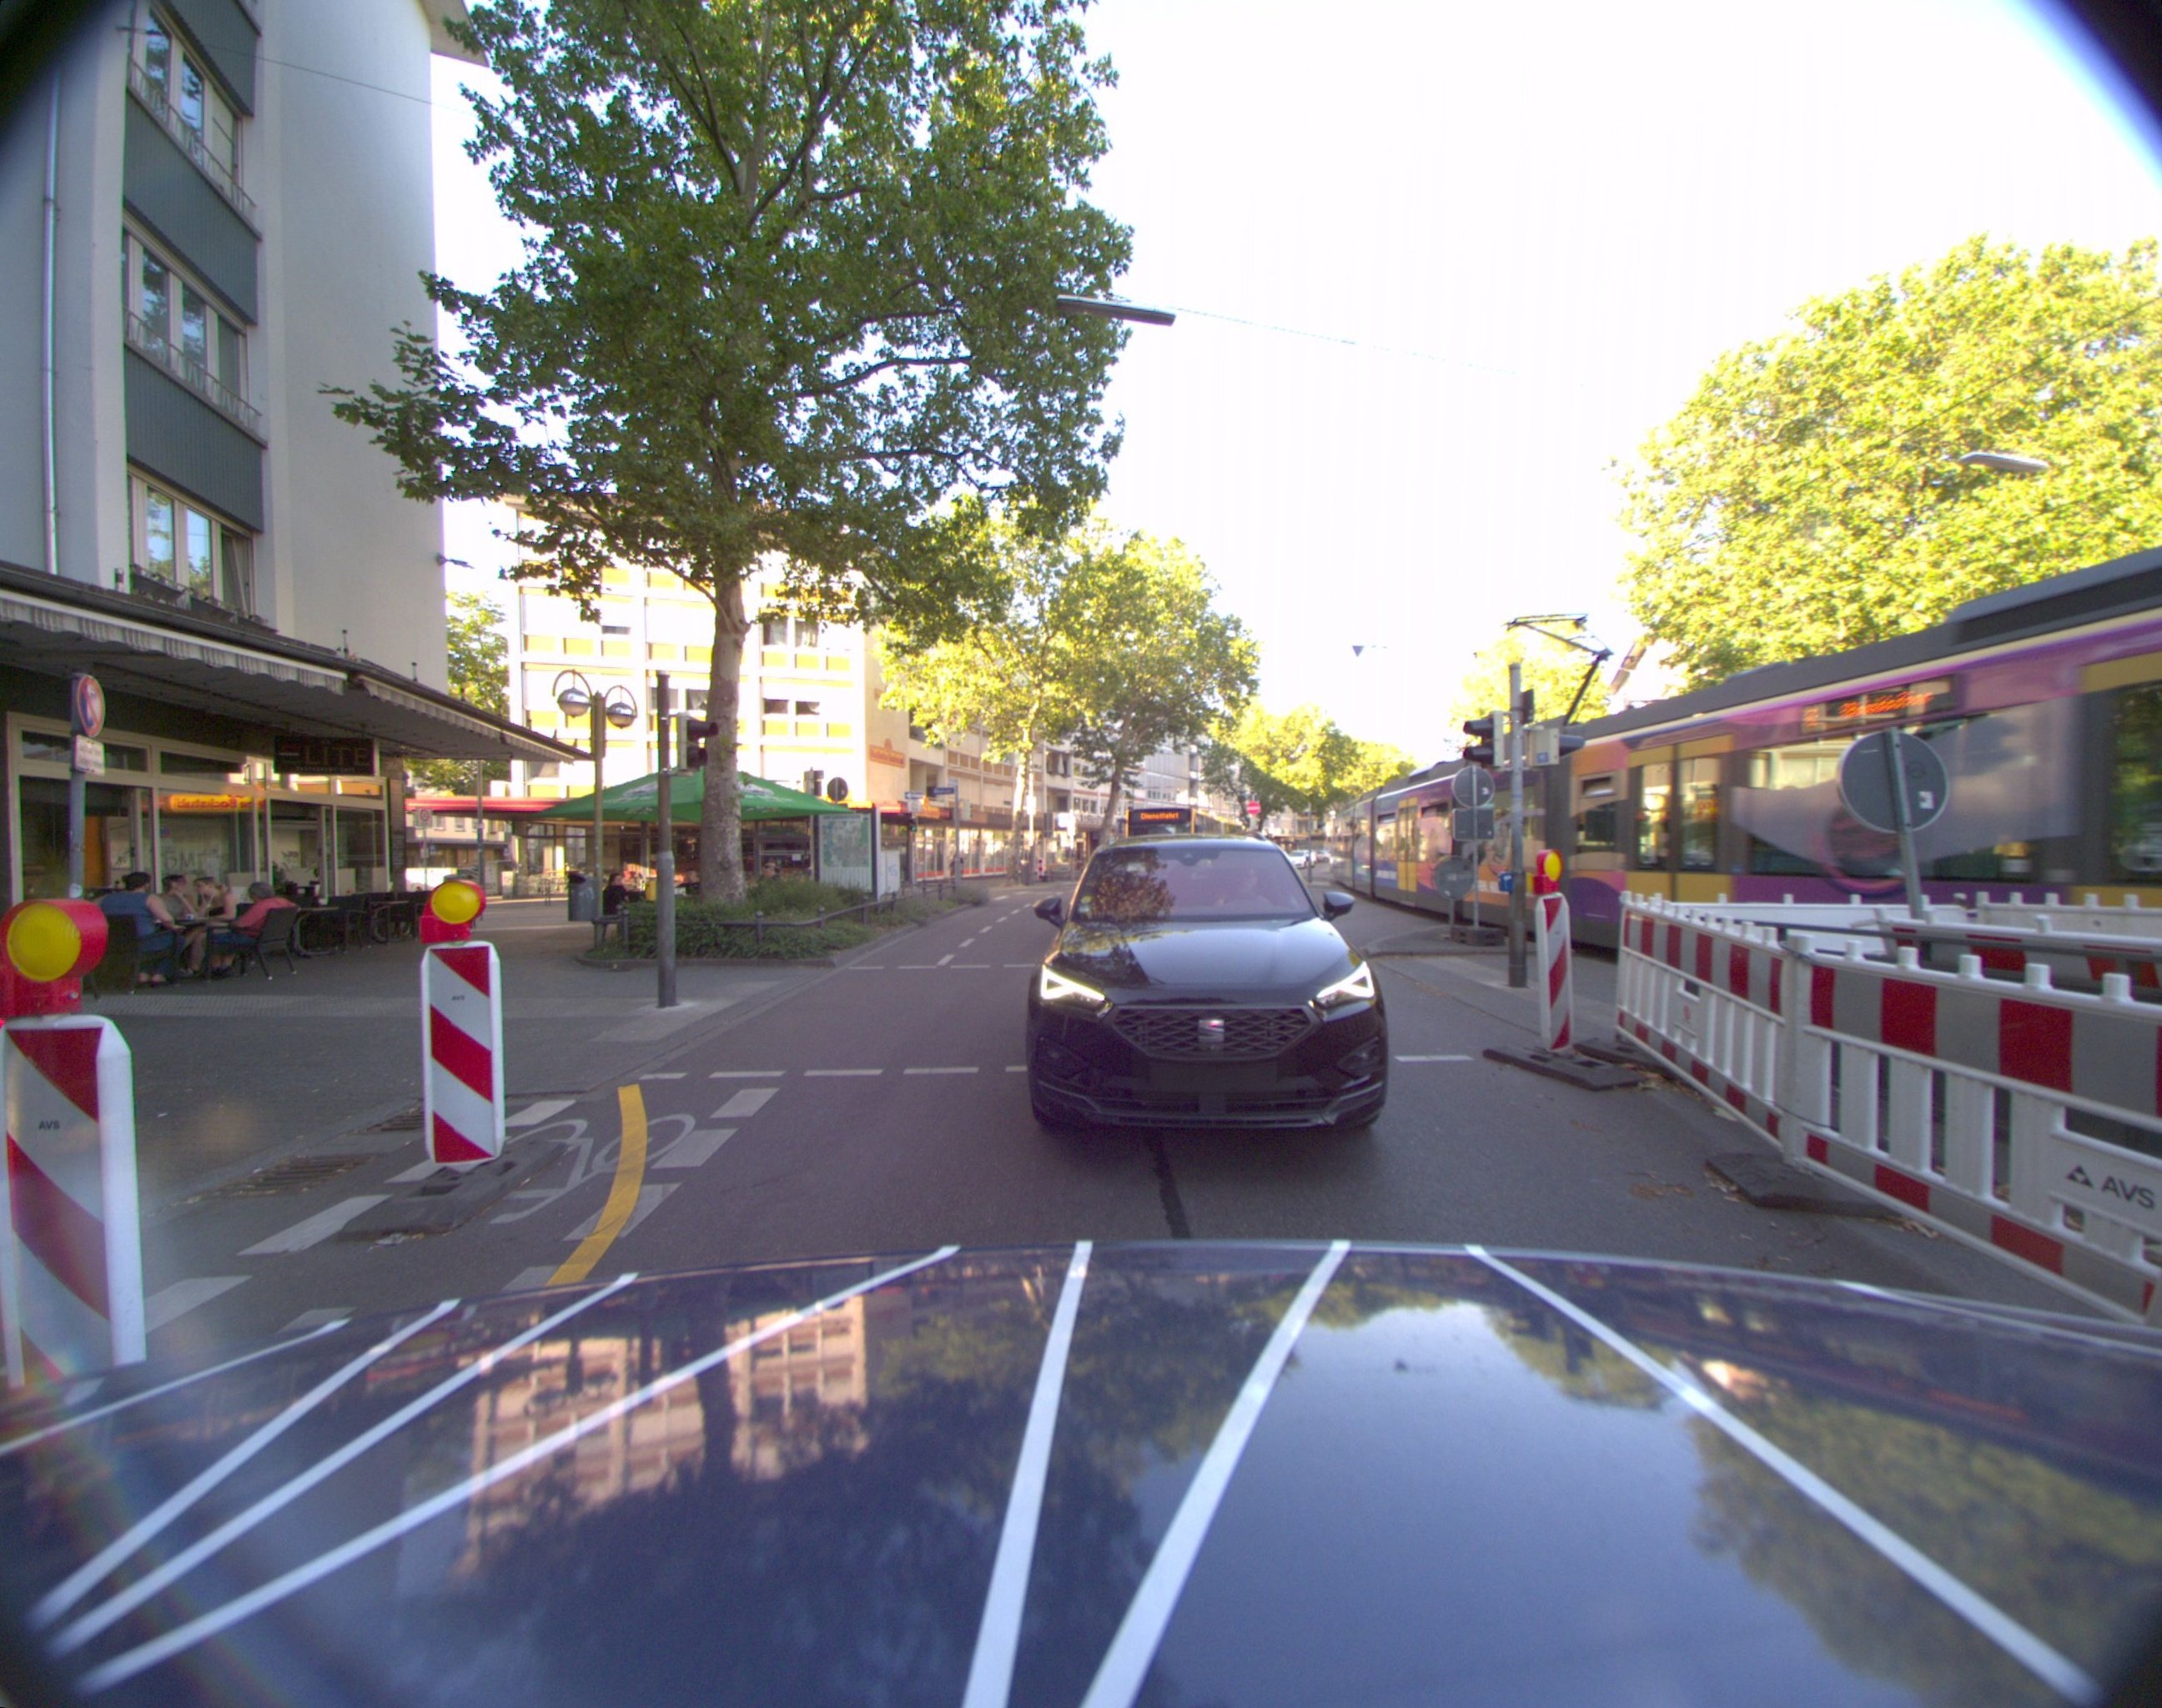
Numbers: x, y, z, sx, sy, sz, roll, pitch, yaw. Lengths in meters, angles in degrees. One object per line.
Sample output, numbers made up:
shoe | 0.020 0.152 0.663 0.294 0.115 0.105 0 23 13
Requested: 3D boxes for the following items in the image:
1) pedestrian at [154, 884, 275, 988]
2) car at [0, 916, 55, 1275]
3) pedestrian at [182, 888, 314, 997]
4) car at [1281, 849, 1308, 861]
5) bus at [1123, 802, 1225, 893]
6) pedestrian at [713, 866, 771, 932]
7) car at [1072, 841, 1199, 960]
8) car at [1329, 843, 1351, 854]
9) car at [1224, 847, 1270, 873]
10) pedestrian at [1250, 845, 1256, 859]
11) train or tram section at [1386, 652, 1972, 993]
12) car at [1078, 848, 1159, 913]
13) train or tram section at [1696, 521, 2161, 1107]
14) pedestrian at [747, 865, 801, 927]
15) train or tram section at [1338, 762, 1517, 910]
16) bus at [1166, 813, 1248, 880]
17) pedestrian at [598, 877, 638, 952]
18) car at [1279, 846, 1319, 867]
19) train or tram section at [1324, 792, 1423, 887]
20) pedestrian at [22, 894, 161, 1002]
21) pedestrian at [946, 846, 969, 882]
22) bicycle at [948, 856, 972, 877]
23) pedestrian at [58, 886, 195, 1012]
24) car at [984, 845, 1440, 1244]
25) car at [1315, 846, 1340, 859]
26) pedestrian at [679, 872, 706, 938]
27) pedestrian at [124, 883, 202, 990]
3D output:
pedestrian | -10.691 0.985 9.397 0.666 1.211 0.717 0 0 -5
car | -5.171 0.990 1.442 1.623 1.457 3.604 1 0 -2
pedestrian | -9.845 1.018 9.017 0.847 1.191 0.649 0 0 -22
car | 23.923 0.119 85.041 2.629 1.209 1.200 -1 2 -6
bus | 4.058 -0.260 30.792 2.750 3.085 9.507 0 1 15
pedestrian | -6.807 0.885 15.278 0.718 1.278 0.769 -1 1 14
car | 0.971 0.637 12.804 1.743 1.630 4.300 -2 0 6
car | 35.587 -0.727 104.231 2.627 1.380 1.201 -1 2 3
car | 10.786 0.357 49.184 1.908 1.467 4.425 0 2 26
pedestrian | 20.302 -0.214 89.741 0.516 1.647 0.571 0 1 28
train or tram section | 8.220 -0.348 13.030 2.841 3.467 10.342 -1 1 6
car | 1.103 0.618 20.168 1.743 1.492 4.301 -2 0 7
train or tram section | 7.775 -0.236 2.809 2.823 3.467 10.338 -1 1 1
pedestrian | -6.540 0.882 16.202 0.718 1.278 0.769 -1 1 13
train or tram section | 9.915 -0.462 23.115 2.875 3.467 10.347 -1 1 13
bus | 6.848 -0.382 39.886 2.749 3.085 9.509 0 1 19
pedestrian | -7.779 1.008 12.766 0.469 1.212 0.431 -2 1 -44
car | 17.721 0.157 61.584 1.952 1.541 4.765 0 2 31
train or tram section | 12.372 -0.582 33.006 2.839 3.467 10.349 -1 1 15
pedestrian | -11.084 1.025 8.541 0.718 1.123 0.649 0 0 -24
pedestrian | -6.073 0.495 37.431 0.748 1.747 0.903 0 1 17
bicycle | -6.668 0.691 42.050 0.528 1.136 1.976 -1 1 15
pedestrian | -10.218 0.983 8.166 0.651 1.244 0.716 0 0 -24
car | 0.686 0.798 5.328 1.848 1.648 4.300 -2 0 4
car | 29.791 -0.191 91.871 2.627 1.464 1.201 -1 2 3
pedestrian | -7.410 0.958 14.501 0.433 1.212 0.467 0 1 -29
pedestrian | -11.241 0.985 9.309 0.519 1.236 0.553 0 0 34
